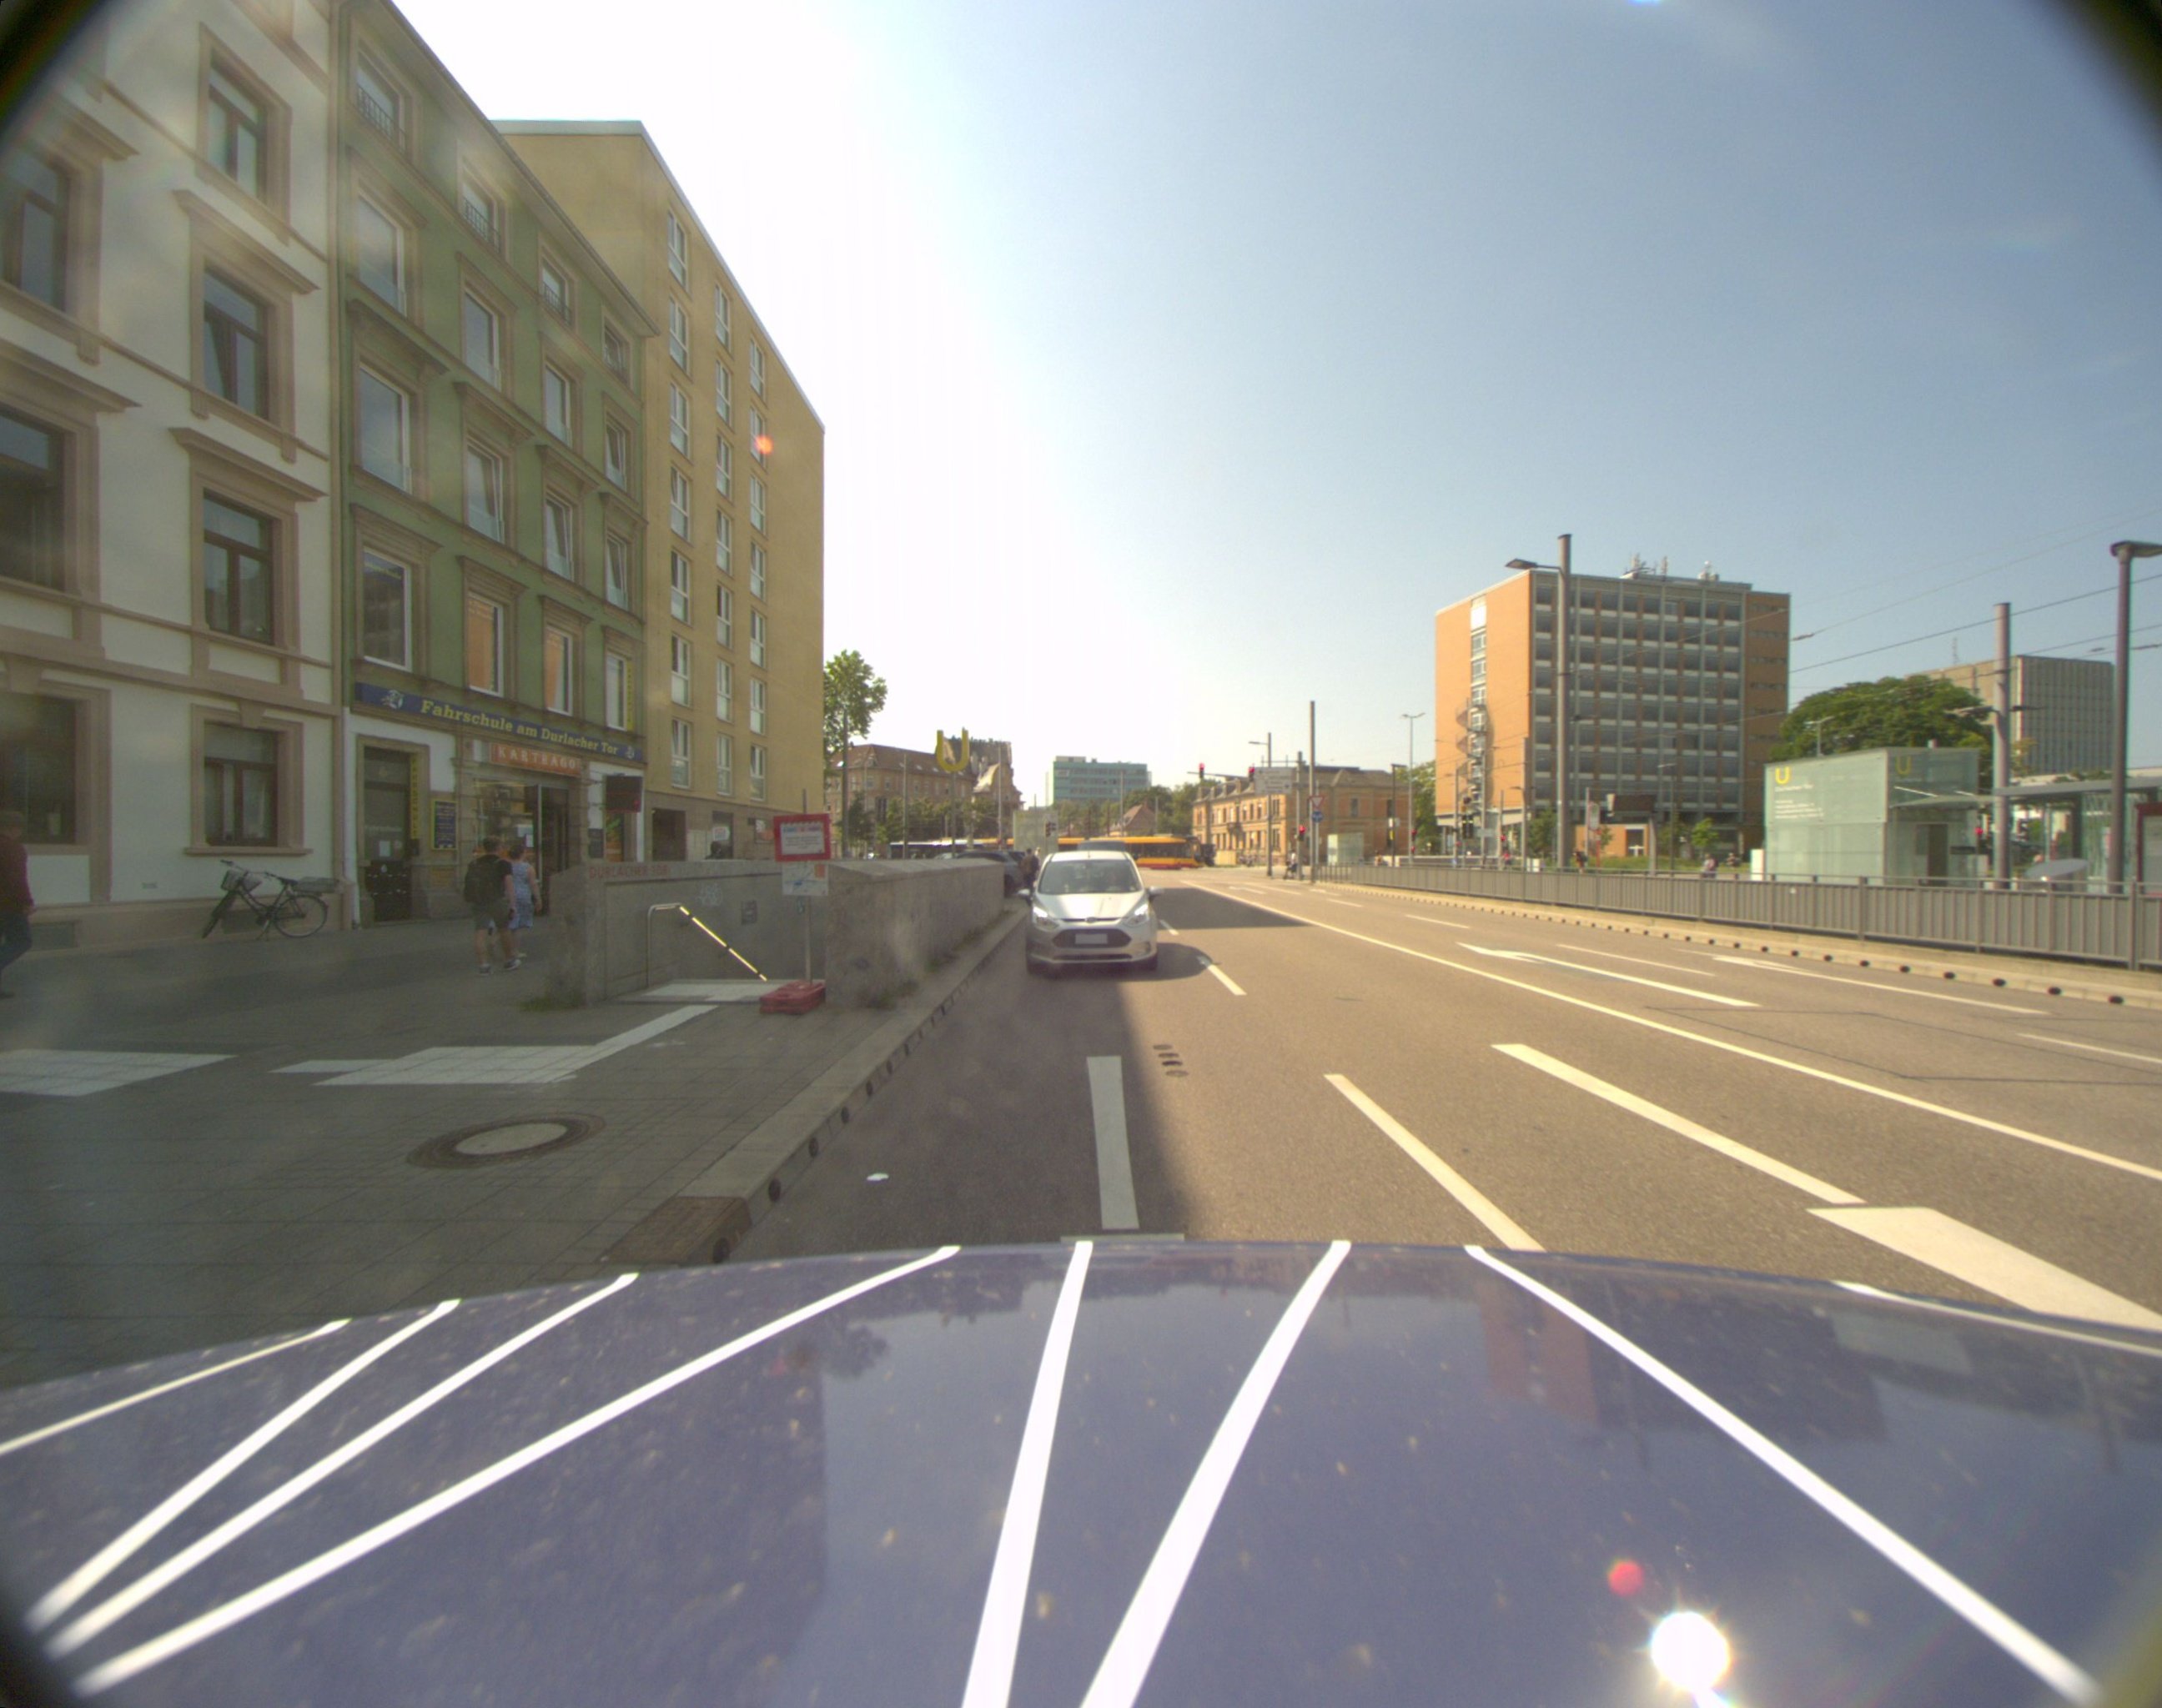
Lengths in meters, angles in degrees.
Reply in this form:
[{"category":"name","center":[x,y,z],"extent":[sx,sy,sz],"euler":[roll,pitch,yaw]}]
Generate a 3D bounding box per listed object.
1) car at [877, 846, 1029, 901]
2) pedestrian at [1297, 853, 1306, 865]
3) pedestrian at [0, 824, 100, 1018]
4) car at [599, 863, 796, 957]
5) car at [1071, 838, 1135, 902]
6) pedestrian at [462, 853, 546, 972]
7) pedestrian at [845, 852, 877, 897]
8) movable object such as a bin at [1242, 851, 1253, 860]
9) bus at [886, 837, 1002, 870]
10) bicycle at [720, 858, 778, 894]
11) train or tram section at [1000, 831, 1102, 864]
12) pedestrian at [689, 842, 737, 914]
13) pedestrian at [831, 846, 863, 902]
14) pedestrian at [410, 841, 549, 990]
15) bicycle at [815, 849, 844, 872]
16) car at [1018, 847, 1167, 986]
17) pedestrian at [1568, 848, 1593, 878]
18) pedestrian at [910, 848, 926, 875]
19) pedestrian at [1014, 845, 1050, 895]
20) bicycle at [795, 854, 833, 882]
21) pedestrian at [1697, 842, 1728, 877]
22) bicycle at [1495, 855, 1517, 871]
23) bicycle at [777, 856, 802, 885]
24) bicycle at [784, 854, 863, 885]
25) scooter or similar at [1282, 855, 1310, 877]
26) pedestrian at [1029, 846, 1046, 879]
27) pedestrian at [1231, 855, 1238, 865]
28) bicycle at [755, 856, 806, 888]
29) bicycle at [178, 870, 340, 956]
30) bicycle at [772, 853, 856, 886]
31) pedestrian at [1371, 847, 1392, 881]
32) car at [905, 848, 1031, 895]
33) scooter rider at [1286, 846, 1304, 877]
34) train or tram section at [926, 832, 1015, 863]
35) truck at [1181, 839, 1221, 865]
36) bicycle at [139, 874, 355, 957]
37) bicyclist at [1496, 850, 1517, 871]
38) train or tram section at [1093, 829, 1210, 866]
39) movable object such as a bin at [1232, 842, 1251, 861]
[{"category":"car","center":[-4.223,0.578,25.578],"extent":[4.675,1.704,2.038],"euler":[0,1,-41]},{"category":"pedestrian","center":[26.855,0.598,92.440],"extent":[0.847,1.386,0.787],"euler":[0,1,3]},{"category":"pedestrian","center":[-10.199,0.613,7.124],"extent":[0.685,1.763,1.017],"euler":[0,0,0]},{"category":"car","center":[-6.605,0.888,13.545],"extent":[1.635,1.432,3.620],"euler":[0,0,1]},{"category":"car","center":[0.769,0.461,25.264],"extent":[1.899,1.919,4.886],"euler":[0,1,3]},{"category":"pedestrian","center":[-8.161,0.781,10.794],"extent":[0.854,1.573,0.968],"euler":[-1,1,-33]},{"category":"pedestrian","center":[-7.893,0.725,27.299],"extent":[0.854,1.573,0.968],"euler":[-1,1,-33]},{"category":"movable object such as a bin","center":[21.696,0.215,98.942],"extent":[1.035,1.078,0.822],"euler":[-1,-2,42]},{"category":"bus","center":[-13.620,-0.048,74.659],"extent":[12.049,3.046,2.739],"euler":[0,0,28]},{"category":"bicycle","center":[-12.207,0.777,28.033],"extent":[0.941,1.231,2.423],"euler":[0,0,4]},{"category":"train or tram section","center":[-3.510,-0.705,85.064],"extent":[12.181,3.540,2.601],"euler":[0,1,34]},{"category":"pedestrian","center":[-8.381,0.524,17.285],"extent":[0.854,1.573,0.968],"euler":[-1,1,-33]},{"category":"pedestrian","center":[-7.222,0.605,23.453],"extent":[0.672,1.675,0.943],"euler":[1,1,1]},{"category":"pedestrian","center":[-7.405,0.733,9.405],"extent":[0.851,1.718,0.972],"euler":[1,-1,7]},{"category":"bicycle","center":[-13.909,0.364,42.124],"extent":[0.794,1.231,2.434],"euler":[0,0,0]},{"category":"car","center":[0.148,0.694,10.823],"extent":[1.692,1.586,4.360],"euler":[0,1,0]},{"category":"pedestrian","center":[29.104,0.515,44.272],"extent":[0.785,1.770,0.959],"euler":[0,2,3]},{"category":"pedestrian","center":[-9.823,0.423,45.824],"extent":[0.793,1.600,0.949],"euler":[1,1,-2]},{"category":"pedestrian","center":[-1.747,0.571,27.117],"extent":[0.870,1.741,0.871],"euler":[-3,-1,-33]},{"category":"bicycle","center":[-11.707,0.596,33.336],"extent":[0.590,1.231,1.548],"euler":[0,0,33]},{"category":"pedestrian","center":[32.337,0.284,38.916],"extent":[0.785,1.770,0.959],"euler":[0,2,3]},{"category":"bicycle","center":[29.404,0.606,52.605],"extent":[0.614,1.063,1.913],"euler":[0,1,4]},{"category":"bicycle","center":[-12.587,0.692,32.818],"extent":[0.409,1.231,1.827],"euler":[0,0,-2]},{"category":"bicycle","center":[-11.982,0.709,35.473],"extent":[3.370,1.396,0.901],"euler":[0,1,-36]},{"category":"scooter or similar","center":[11.765,0.655,41.687],"extent":[1.341,1.142,0.709],"euler":[0,1,1]},{"category":"pedestrian","center":[-2.379,0.475,41.894],"extent":[0.821,1.797,0.814],"euler":[-1,1,1]},{"category":"pedestrian","center":[20.248,0.743,100.113],"extent":[0.815,1.343,0.720],"euler":[0,0,8]},{"category":"bicycle","center":[-12.113,0.711,30.734],"extent":[0.941,1.231,2.423],"euler":[0,0,4]},{"category":"bicycle","center":[-12.592,0.855,11.730],"extent":[0.459,1.177,1.847],"euler":[0,1,1]},{"category":"bicycle","center":[-11.685,0.652,33.372],"extent":[3.370,1.396,0.901],"euler":[0,1,-36]},{"category":"pedestrian","center":[15.036,0.515,38.070],"extent":[0.574,1.649,0.800],"euler":[0,-1,-18]},{"category":"car","center":[-4.280,0.612,29.085],"extent":[4.401,1.678,1.981],"euler":[0,1,-41]},{"category":"scooter rider","center":[11.748,0.396,41.656],"extent":[0.773,1.663,0.779],"euler":[0,1,1]},{"category":"train or tram section","center":[-13.536,-0.766,91.943],"extent":[12.181,3.540,2.601],"euler":[0,1,34]},{"category":"truck","center":[15.905,-0.221,101.398],"extent":[3.043,3.209,7.186],"euler":[0,-2,-10]},{"category":"bicycle","center":[-12.586,0.875,11.622],"extent":[0.481,1.139,2.472],"euler":[0,-2,3]},{"category":"bicyclist","center":[29.405,0.418,52.523],"extent":[0.877,1.451,0.980],"euler":[0,1,4]},{"category":"train or tram section","center":[7.072,-0.687,77.782],"extent":[12.181,3.540,2.601],"euler":[0,1,34]},{"category":"movable object such as a bin","center":[23.667,-0.375,112.201],"extent":[1.817,2.656,4.455],"euler":[0,0,0]}]
